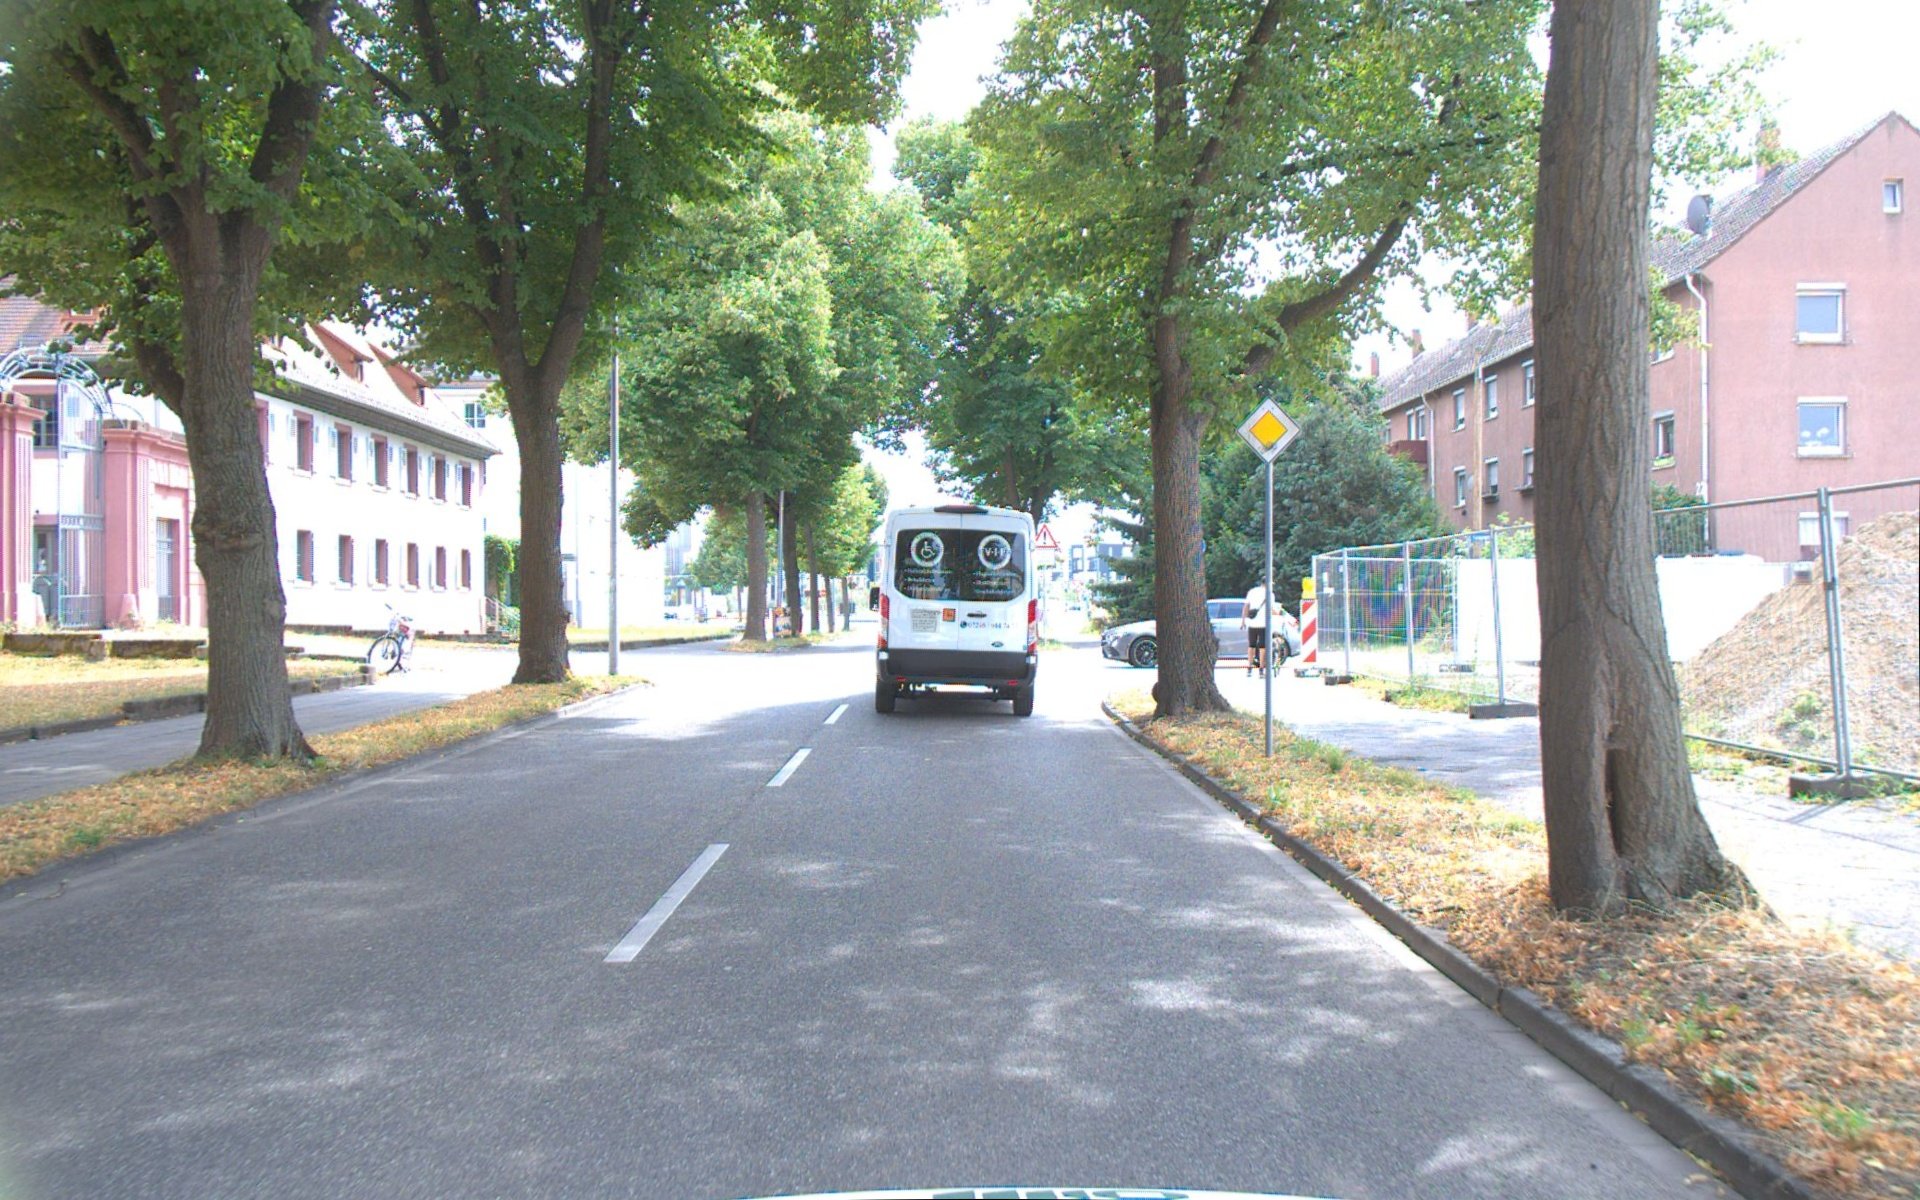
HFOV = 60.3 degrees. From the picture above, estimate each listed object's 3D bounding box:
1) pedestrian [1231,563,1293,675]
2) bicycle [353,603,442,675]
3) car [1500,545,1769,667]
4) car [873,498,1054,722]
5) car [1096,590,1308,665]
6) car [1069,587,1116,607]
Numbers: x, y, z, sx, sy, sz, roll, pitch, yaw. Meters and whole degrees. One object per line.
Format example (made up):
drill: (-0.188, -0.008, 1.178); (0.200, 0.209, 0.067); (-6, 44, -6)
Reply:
pedestrian: (5.118, 0.322, 28.021); (0.864, 1.846, 0.889); (-2, 0, 18)
bicycle: (-9.465, 0.635, 27.917); (0.708, 1.114, 2.225); (3, 0, -1)
car: (15.719, 0.096, 38.753); (5.359, 2.678, 2.336); (-1, 2, 1)
car: (-0.060, 0.071, 21.452); (2.022, 2.584, 3.998); (1, 1, -4)
car: (5.147, 0.611, 35.664); (4.281, 1.468, 2.011); (-1, -2, 1)
car: (13.492, -0.333, 168.299); (4.351, 1.848, 1.993); (-2, 0, -30)
